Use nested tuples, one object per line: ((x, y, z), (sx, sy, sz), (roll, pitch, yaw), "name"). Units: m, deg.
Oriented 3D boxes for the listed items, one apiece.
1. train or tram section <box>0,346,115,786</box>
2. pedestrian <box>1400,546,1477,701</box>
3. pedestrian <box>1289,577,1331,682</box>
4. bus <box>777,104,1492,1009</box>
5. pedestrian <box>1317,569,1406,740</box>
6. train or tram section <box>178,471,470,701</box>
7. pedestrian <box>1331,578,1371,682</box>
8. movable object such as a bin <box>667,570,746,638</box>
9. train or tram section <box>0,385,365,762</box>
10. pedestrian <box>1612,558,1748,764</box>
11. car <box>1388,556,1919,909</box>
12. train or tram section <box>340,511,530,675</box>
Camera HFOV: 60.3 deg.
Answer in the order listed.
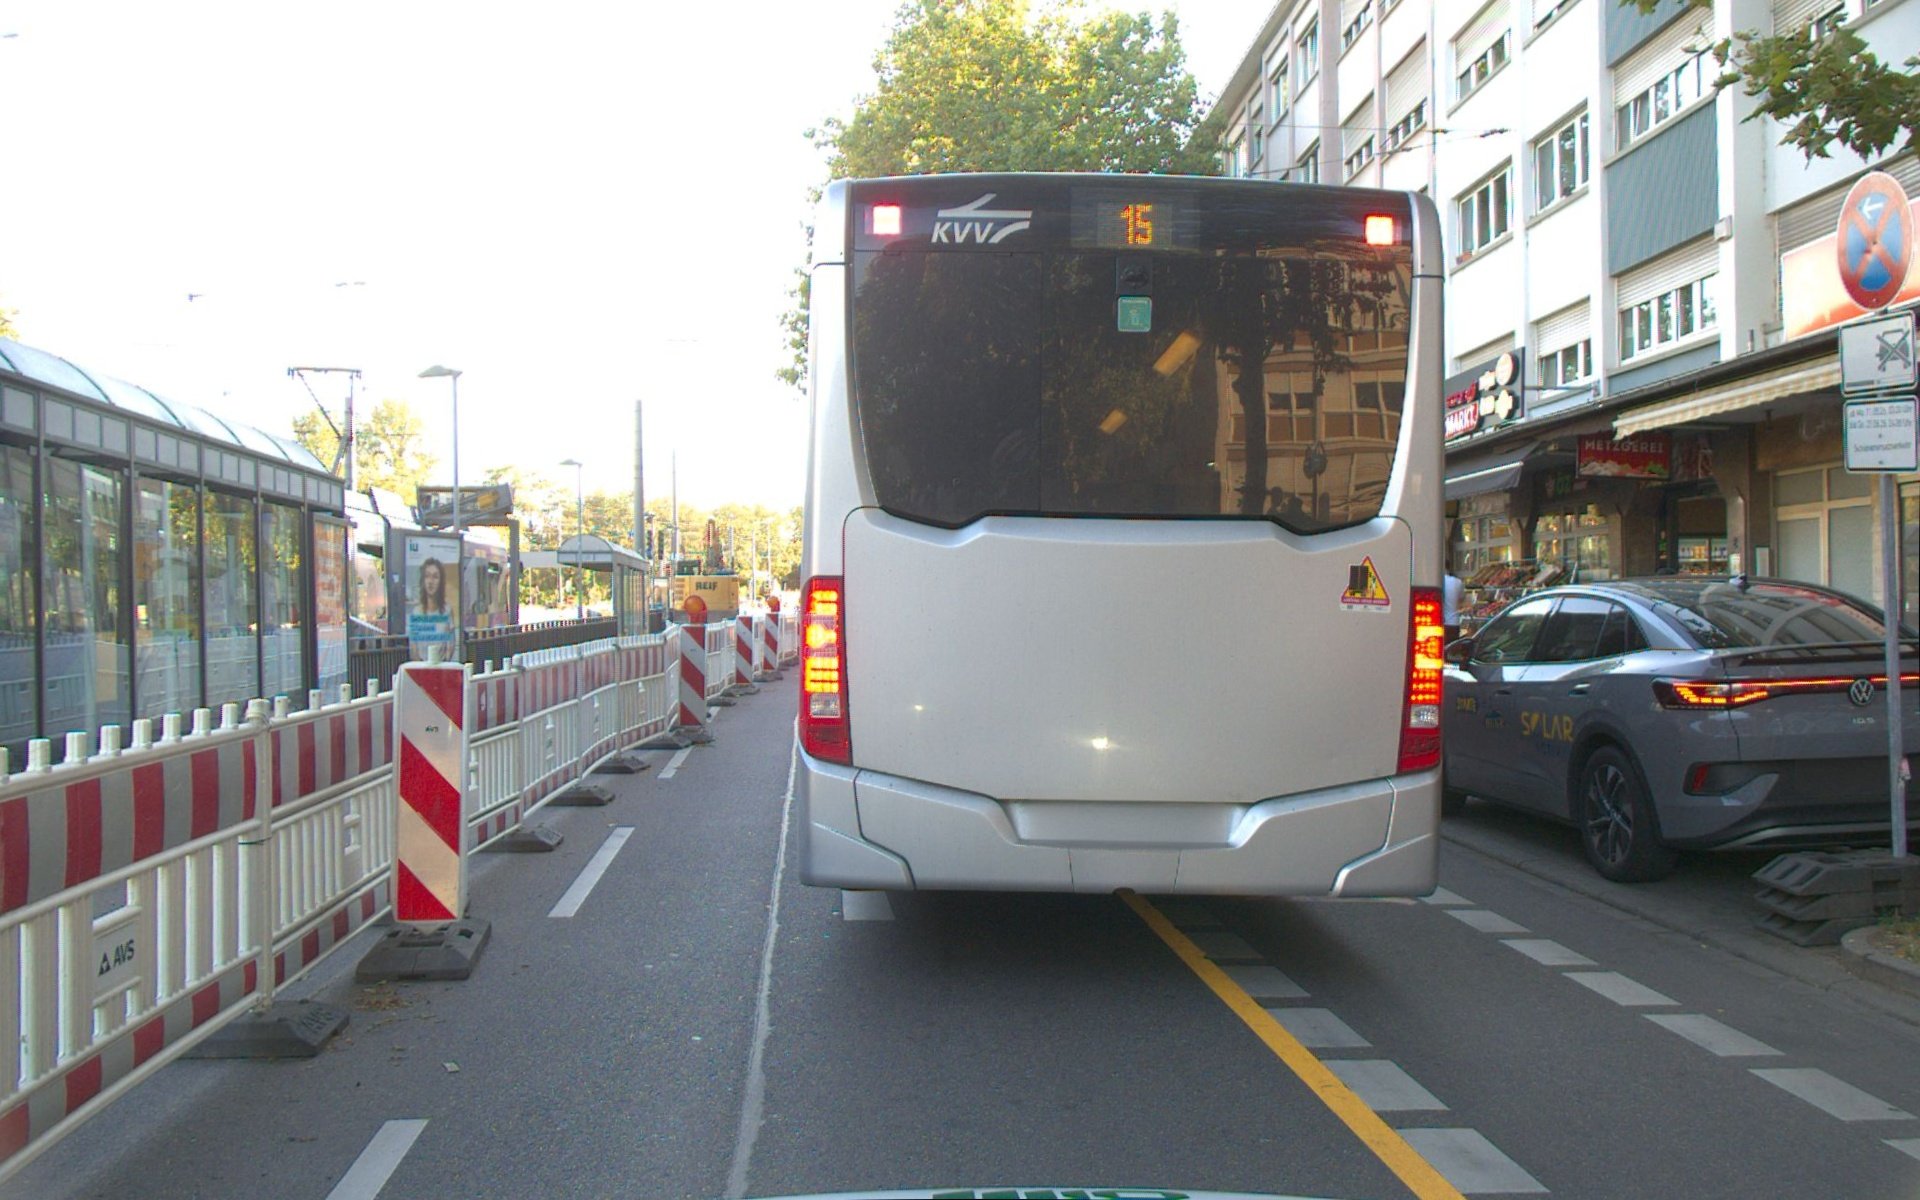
((-8.760, -0.277, 10.445), (2.782, 3.548, 10.321), (0, 0, -7), "train or tram section")
((6.532, 0.319, 22.618), (0.754, 2.049, 0.713), (-2, 0, -2), "pedestrian")
((6.990, 0.584, 33.055), (0.677, 2.049, 0.696), (-1, 0, -1), "pedestrian")
((0.592, -0.168, 11.060), (2.555, 3.225, 10.290), (0, 0, 0), "bus")
((4.219, 0.567, 17.425), (0.738, 1.756, 0.660), (-1, 0, -3), "pedestrian")
((-11.407, -0.205, 30.878), (2.782, 3.548, 10.319), (0, 0, -8), "train or tram section")
((7.797, 0.601, 33.018), (0.600, 2.049, 0.696), (-1, 0, -1), "pedestrian")
((-9.646, 0.159, 63.331), (2.752, 2.505, 3.995), (-1, 0, -6), "movable object such as a bin")
((-10.084, -0.235, 20.638), (2.816, 3.548, 10.321), (0, 0, -7), "train or tram section")
((5.877, 0.476, 13.498), (0.870, 1.608, 0.739), (0, -1, -45), "pedestrian")
((4.233, 0.621, 10.116), (1.706, 1.625, 4.294), (-3, 0, -5), "car")
((-12.730, -0.149, 41.079), (2.763, 3.548, 10.320), (0, 0, -8), "train or tram section")
